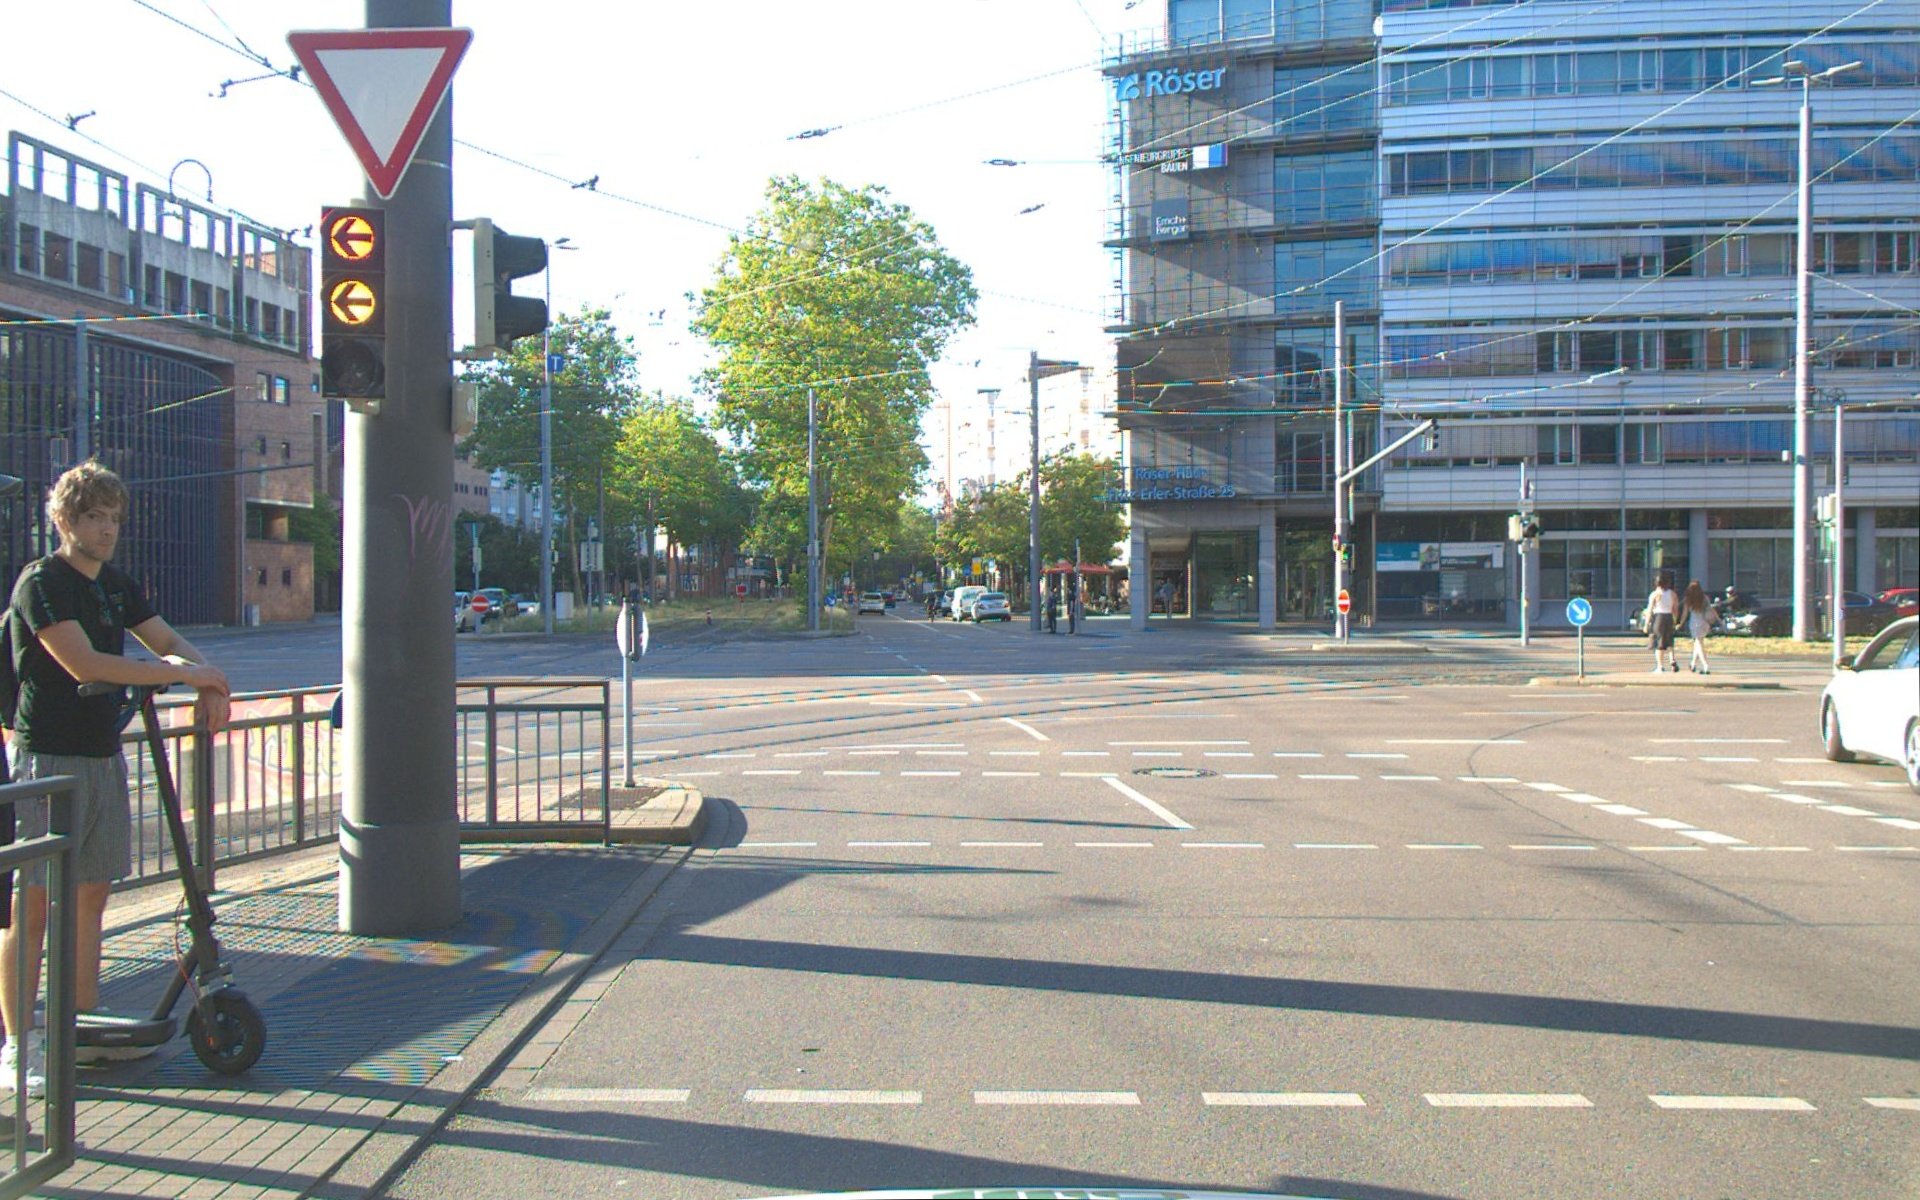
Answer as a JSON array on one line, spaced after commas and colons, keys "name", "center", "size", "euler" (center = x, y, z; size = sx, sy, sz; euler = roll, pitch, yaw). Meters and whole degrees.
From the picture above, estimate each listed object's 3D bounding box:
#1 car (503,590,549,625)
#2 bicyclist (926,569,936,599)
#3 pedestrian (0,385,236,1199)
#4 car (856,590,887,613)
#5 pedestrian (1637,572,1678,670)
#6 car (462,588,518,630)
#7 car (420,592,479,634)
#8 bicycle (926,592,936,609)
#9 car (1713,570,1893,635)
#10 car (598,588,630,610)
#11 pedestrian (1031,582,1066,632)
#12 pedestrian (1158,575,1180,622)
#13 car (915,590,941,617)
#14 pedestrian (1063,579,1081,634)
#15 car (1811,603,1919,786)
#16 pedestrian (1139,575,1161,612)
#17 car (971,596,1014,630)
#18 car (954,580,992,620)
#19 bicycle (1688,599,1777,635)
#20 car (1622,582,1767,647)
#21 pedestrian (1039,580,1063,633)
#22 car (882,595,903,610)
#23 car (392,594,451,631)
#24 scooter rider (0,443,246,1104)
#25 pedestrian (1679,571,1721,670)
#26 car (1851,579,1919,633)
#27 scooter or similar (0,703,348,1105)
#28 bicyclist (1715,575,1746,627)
[{"name": "car", "center": [-21.572, 0.366, 82.288], "size": [1.644, 1.635, 3.994], "euler": [1, 0, -7]}, {"name": "bicyclist", "center": [-1.462, -0.799, 82.812], "size": [0.477, 1.464, 0.615], "euler": [1, 0, -1]}, {"name": "pedestrian", "center": [-2.610, 0.483, 4.169], "size": [1.143, 1.917, 0.854], "euler": [-1, 0, 4]}, {"name": "car", "center": [-5.849, 0.104, 109.719], "size": [1.712, 1.443, 4.001], "euler": [1, 1, 1]}, {"name": "pedestrian", "center": [12.945, 0.375, 30.689], "size": [0.664, 1.789, 0.741], "euler": [-1, 0, 24]}, {"name": "car", "center": [-21.188, 0.368, 74.683], "size": [1.787, 1.821, 3.994], "euler": [-1, 0, -7]}, {"name": "car", "center": [-20.636, 0.509, 66.978], "size": [1.591, 1.604, 3.994], "euler": [-1, 0, -7]}, {"name": "bicycle", "center": [-1.464, 0.026, 83.008], "size": [0.481, 0.802, 1.861], "euler": [1, 0, -1]}, {"name": "car", "center": [23.978, 0.072, 47.161], "size": [4.165, 1.753, 1.885], "euler": [-1, 0, 2]}, {"name": "car", "center": [-29.088, -0.121, 139.226], "size": [1.871, 1.814, 3.999], "euler": [-1, 0, -1]}, {"name": "pedestrian", "center": [3.502, 0.274, 65.857], "size": [1.315, 1.984, 1.011], "euler": [0, 0, -1]}, {"name": "pedestrian", "center": [9.275, -0.065, 73.521], "size": [0.852, 2.049, 0.793], "euler": [1, -2, -1]}, {"name": "car", "center": [-2.423, 0.265, 126.657], "size": [1.953, 2.049, 3.999], "euler": [1, 0, -1]}, {"name": "pedestrian", "center": [4.250, 0.246, 62.782], "size": [0.574, 2.049, 0.620], "euler": [1, -1, 0]}, {"name": "car", "center": [8.749, 0.773, 14.216], "size": [1.600, 1.453, 3.990], "euler": [1, 0, 13]}, {"name": "pedestrian", "center": [11.652, -0.374, 101.413], "size": [1.285, 2.228, 1.171], "euler": [1, -1, 5]}, {"name": "car", "center": [1.591, 0.655, 82.725], "size": [1.988, 1.624, 3.999], "euler": [1, 0, -1]}, {"name": "car", "center": [0.685, 0.001, 89.573], "size": [1.953, 2.049, 3.999], "euler": [1, 0, -1]}, {"name": "bicycle", "center": [23.234, 0.499, 49.776], "size": [2.359, 1.040, 0.637], "euler": [-1, 0, 4]}, {"name": "car", "center": [24.333, 0.489, 54.900], "size": [3.906, 2.049, 2.000], "euler": [1, 0, -1]}, {"name": "pedestrian", "center": [3.537, 0.246, 64.299], "size": [0.832, 2.049, 0.707], "euler": [1, -1, -1]}, {"name": "car", "center": [-6.364, 0.204, 155.602], "size": [1.729, 1.429, 4.292], "euler": [0, 0, -5]}, {"name": "car", "center": [-30.977, 0.689, 95.269], "size": [1.837, 2.049, 4.472], "euler": [-1, 0, 2]}, {"name": "scooter rider", "center": [-2.634, 0.503, 5.084], "size": [0.554, 1.885, 0.680], "euler": [-1, -2, 4]}, {"name": "pedestrian", "center": [13.593, 0.368, 30.406], "size": [0.669, 1.789, 0.741], "euler": [-1, 0, 23]}, {"name": "car", "center": [29.183, 0.200, 49.616], "size": [3.903, 1.579, 1.798], "euler": [1, 0, 4]}, {"name": "scooter or similar", "center": [-2.591, 0.892, 5.057], "size": [1.177, 1.100, 0.648], "euler": [-1, 0, 3]}, {"name": "bicyclist", "center": [23.176, 0.032, 49.780], "size": [0.649, 1.529, 0.613], "euler": [-1, 0, 4]}]
